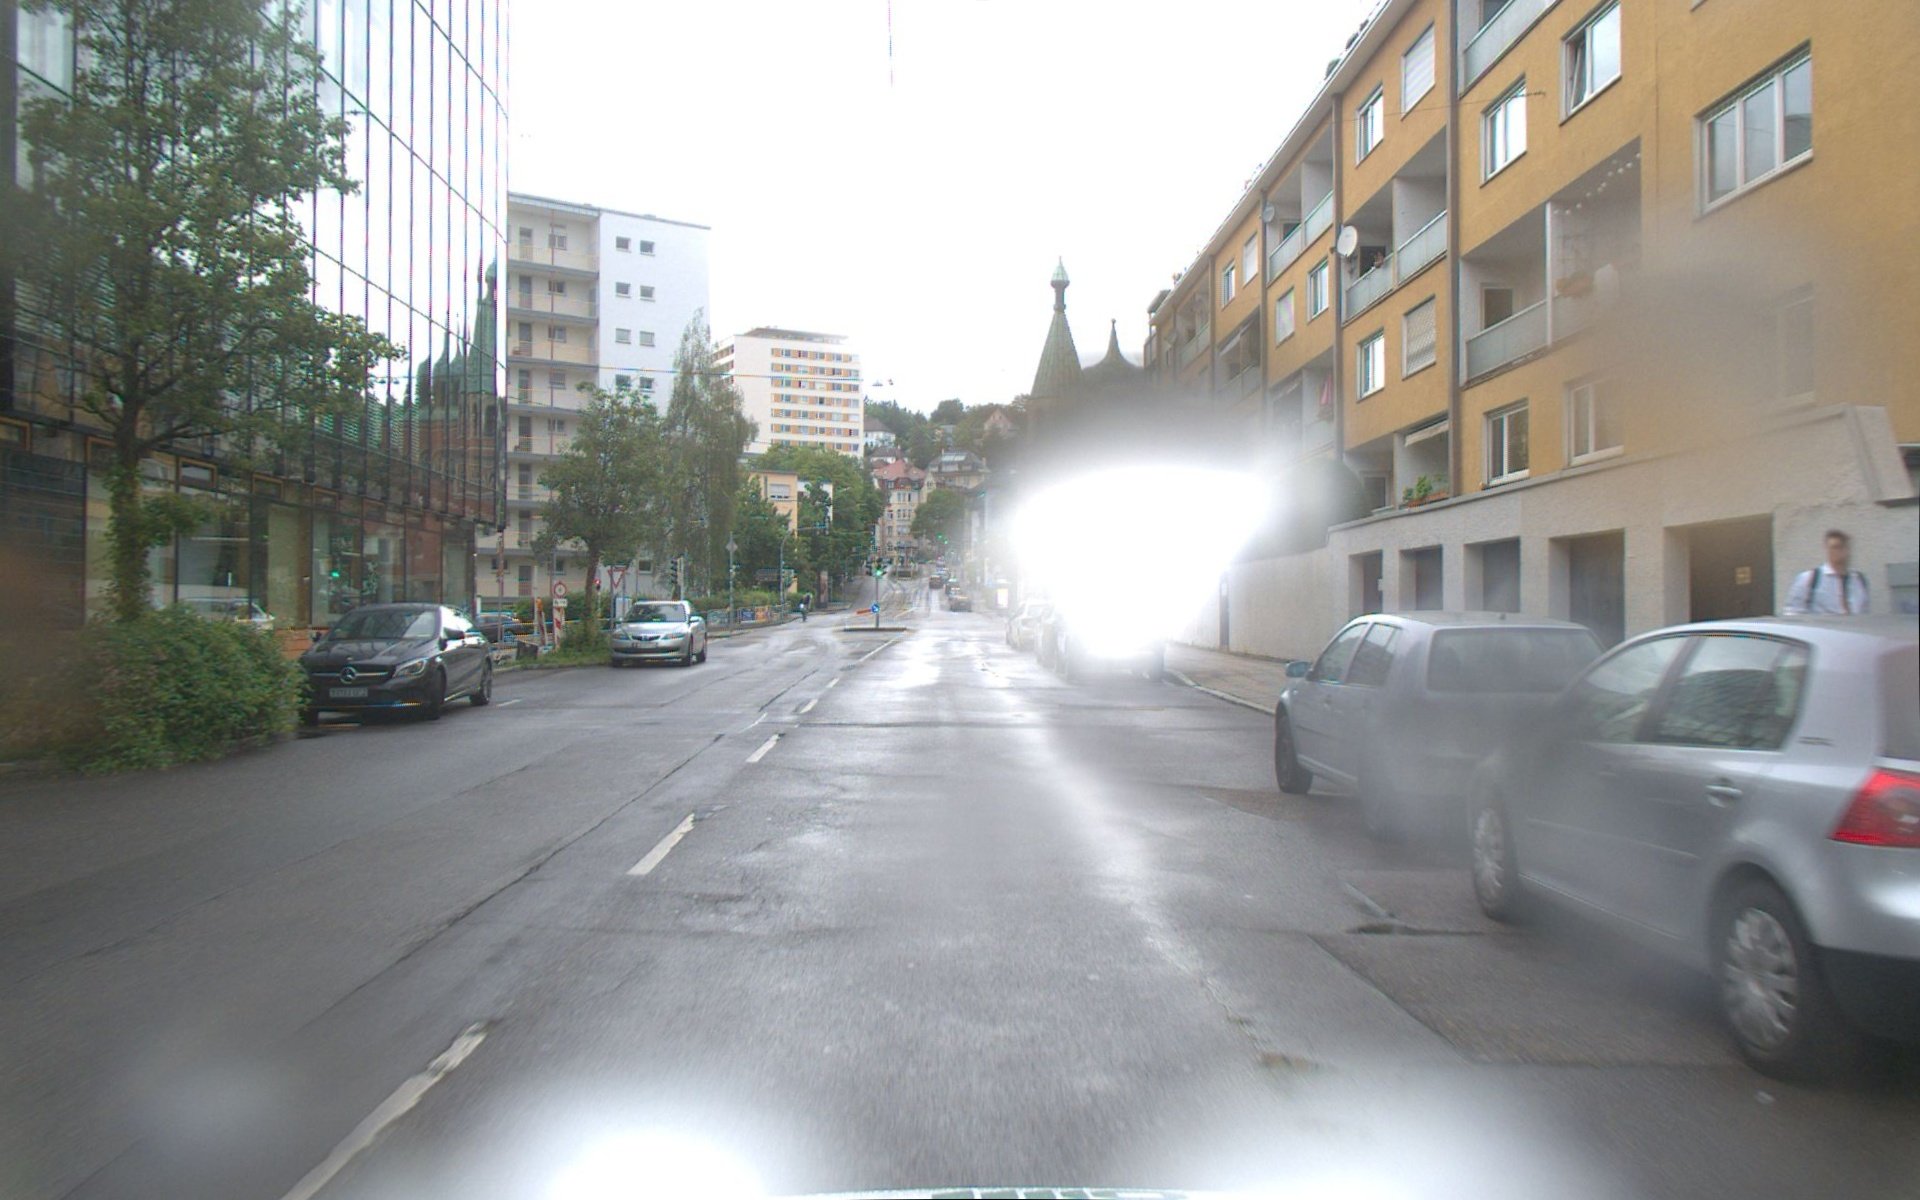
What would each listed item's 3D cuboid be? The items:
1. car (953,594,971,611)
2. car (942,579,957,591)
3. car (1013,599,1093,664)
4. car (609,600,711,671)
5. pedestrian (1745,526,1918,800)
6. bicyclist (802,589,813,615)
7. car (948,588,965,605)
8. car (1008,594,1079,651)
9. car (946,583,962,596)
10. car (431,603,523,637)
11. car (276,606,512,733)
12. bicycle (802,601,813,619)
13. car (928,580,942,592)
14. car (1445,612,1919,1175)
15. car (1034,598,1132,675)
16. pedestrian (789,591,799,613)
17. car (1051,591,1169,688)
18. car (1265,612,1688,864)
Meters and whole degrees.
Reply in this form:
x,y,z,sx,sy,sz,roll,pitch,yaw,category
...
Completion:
x,y,z,sx,sy,sz,roll,pitch,yaw,category
0.228,0.208,166.708,1.696,1.682,4.001,0,0,2,car
-1.398,-1.955,219.397,1.870,1.536,3.999,2,1,-2,car
2.429,0.806,44.091,1.781,1.549,4.075,2,1,-2,car
-6.720,0.756,37.445,1.675,1.476,4.292,-1,0,-2,car
5.949,0.397,11.298,0.758,1.762,0.736,-4,2,-30,pedestrian
-9.915,0.145,107.610,0.663,1.690,0.649,0,0,-4,bicyclist
-0.333,-0.356,178.215,1.813,1.797,4.000,1,0,0,car
2.465,0.653,49.675,1.781,1.549,4.075,2,1,-2,car
-0.728,-1.349,203.378,1.854,1.536,3.999,2,1,-2,car
-23.446,0.950,80.298,3.962,1.536,1.774,-1,1,-40,car
-7.373,0.834,22.037,1.767,1.476,4.655,-1,0,-3,car
-9.919,0.629,107.635,0.663,1.127,1.799,0,0,-4,bicycle
-3.534,-1.984,235.582,1.869,1.536,3.999,1,1,-2,car
3.408,0.841,6.653,1.630,1.528,3.919,0,0,-2,car
2.738,0.777,37.561,1.781,1.549,4.075,2,1,-2,car
-14.697,0.198,146.606,0.870,1.926,0.921,0,1,-7,pedestrian
2.836,0.716,32.085,1.781,1.681,4.075,2,1,-2,car
3.406,0.823,11.690,1.630,1.424,3.919,0,0,-2,car
